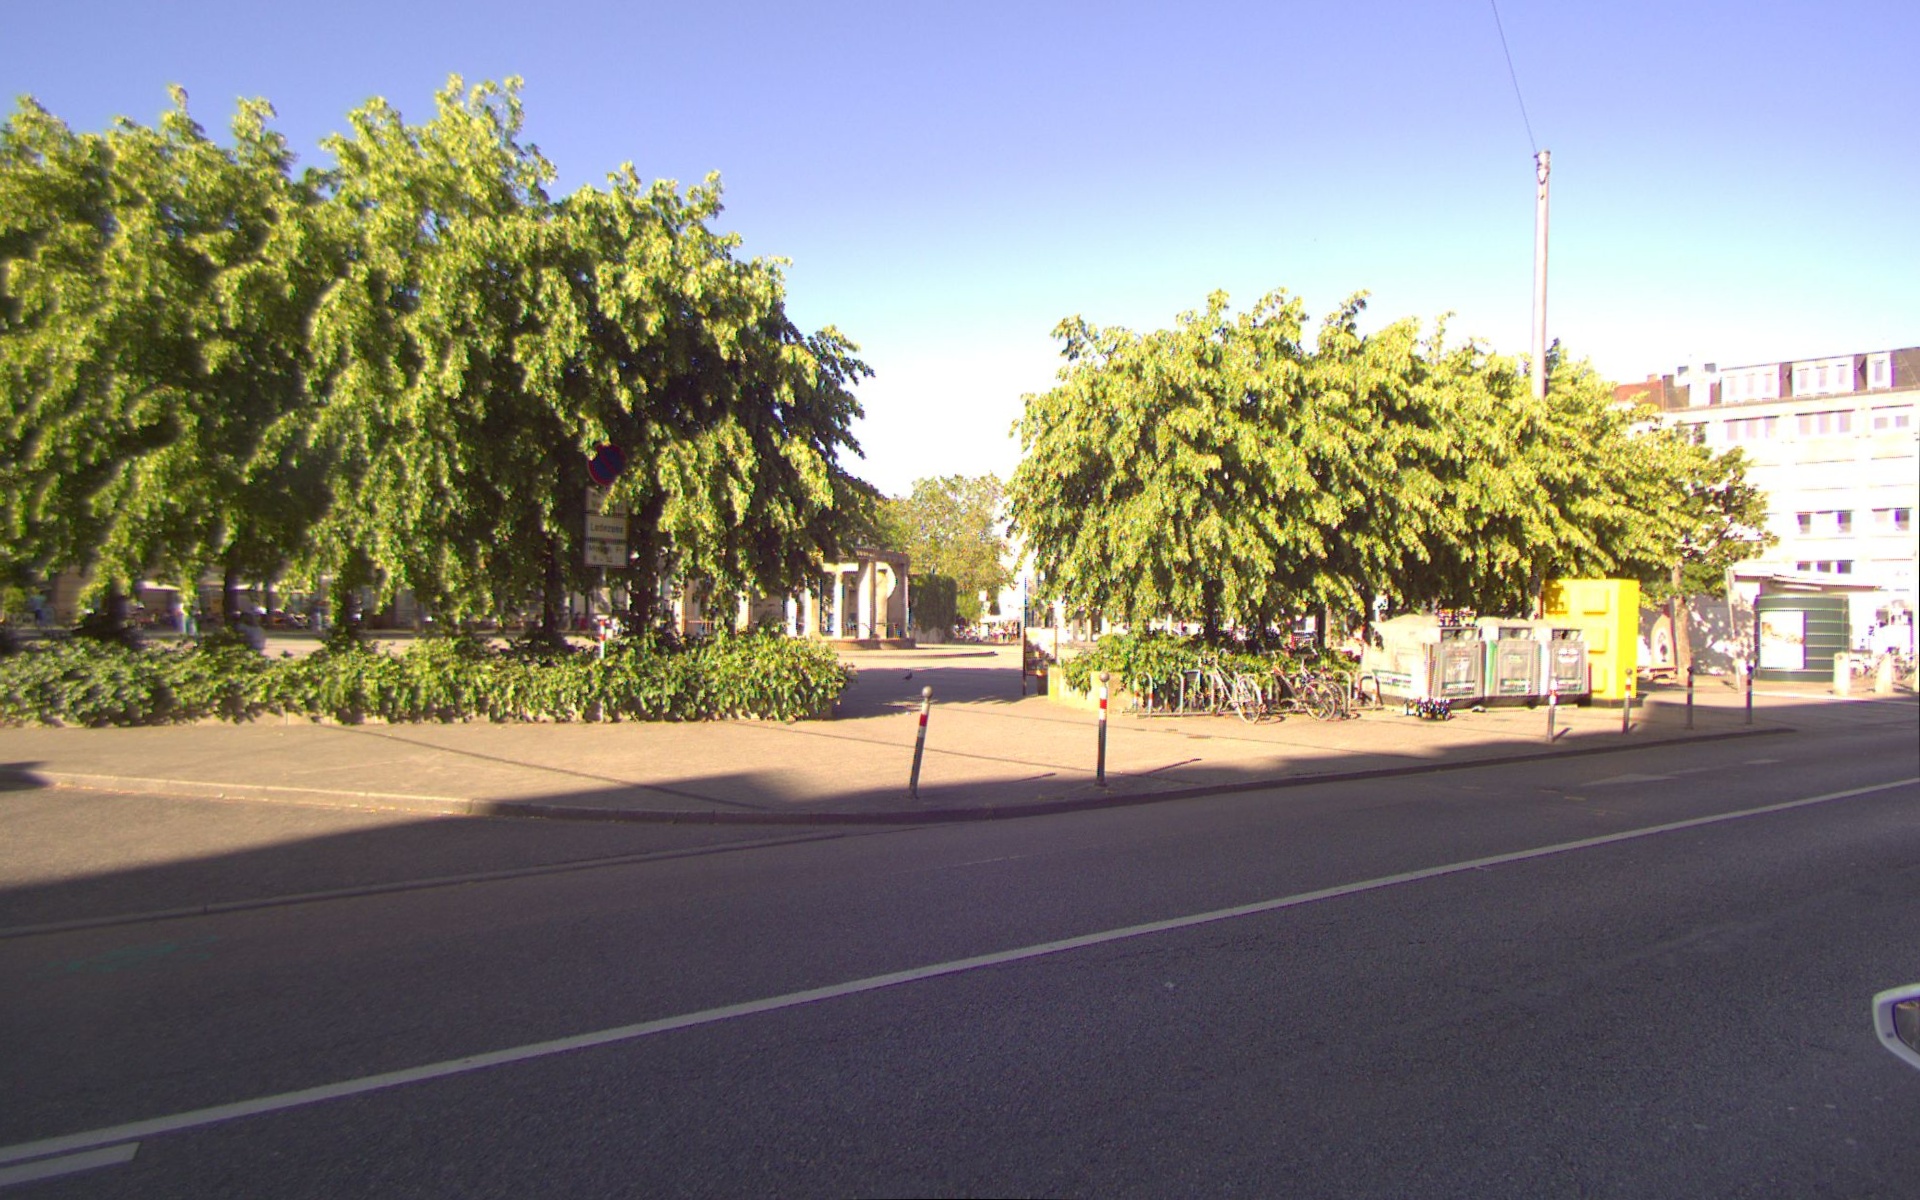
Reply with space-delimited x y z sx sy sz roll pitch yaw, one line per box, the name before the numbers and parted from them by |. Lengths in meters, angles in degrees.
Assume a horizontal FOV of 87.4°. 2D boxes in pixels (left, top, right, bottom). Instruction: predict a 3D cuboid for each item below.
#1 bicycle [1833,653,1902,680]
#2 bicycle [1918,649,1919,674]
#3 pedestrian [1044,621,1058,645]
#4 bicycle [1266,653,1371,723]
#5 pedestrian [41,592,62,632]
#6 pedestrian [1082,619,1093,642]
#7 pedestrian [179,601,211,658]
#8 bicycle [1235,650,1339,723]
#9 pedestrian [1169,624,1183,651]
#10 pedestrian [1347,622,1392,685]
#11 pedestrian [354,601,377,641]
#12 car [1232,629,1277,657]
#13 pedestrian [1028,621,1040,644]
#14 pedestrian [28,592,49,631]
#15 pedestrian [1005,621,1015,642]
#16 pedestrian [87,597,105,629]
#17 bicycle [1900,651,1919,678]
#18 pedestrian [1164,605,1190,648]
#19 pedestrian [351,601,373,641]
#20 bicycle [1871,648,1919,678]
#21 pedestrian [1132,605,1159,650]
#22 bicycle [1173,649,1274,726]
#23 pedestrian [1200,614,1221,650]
bicycle | 30.815 2.251 34.121 0.600 0.802 1.634 2 0 -33
bicycle | 37.090 2.345 37.483 0.599 0.946 1.854 2 0 -30
pedestrian | 8.116 2.942 89.432 1.014 2.040 1.159 2 0 -5
bicycle | 5.821 1.409 16.411 0.508 0.968 1.898 2 0 -20
pedestrian | -40.667 0.548 44.961 0.600 1.744 0.643 2 0 45
pedestrian | 12.634 3.039 99.527 0.860 2.199 0.902 2 0 -5
pedestrian | -23.797 0.909 31.249 0.599 1.744 0.644 2 0 41
bicycle | 5.253 1.373 16.280 0.508 1.016 1.923 2 0 -20
pedestrian | 14.219 2.440 66.171 0.741 1.740 0.854 1 -1 4
pedestrian | 13.773 1.797 33.790 0.967 2.040 1.042 2 0 -42
pedestrian | -26.458 0.930 44.706 0.598 1.744 0.645 2 0 32
car | 15.882 2.283 54.327 1.658 1.405 3.575 1 -1 5
pedestrian | 6.617 2.904 89.880 0.861 2.040 0.902 2 0 -5
pedestrian | -41.842 0.541 45.602 0.600 1.744 0.643 2 0 45
pedestrian | 4.498 2.831 90.631 0.718 1.862 0.697 2 0 -5
pedestrian | -48.256 0.713 56.096 0.599 1.744 0.644 2 0 39
bicycle | 35.084 2.338 36.059 0.599 0.946 1.854 2 0 -30
pedestrian | 10.502 1.280 48.665 0.875 2.040 0.896 1 0 -17
pedestrian | -26.676 0.924 44.821 0.599 1.744 0.644 2 0 37
bicycle | 33.169 2.207 35.135 0.599 0.946 1.855 1 -1 -30
pedestrian | 8.492 1.259 45.983 0.875 2.040 0.896 1 0 -17
bicycle | 4.065 1.334 15.649 0.508 1.029 1.930 2 0 -19
pedestrian | 12.206 1.539 48.970 0.774 1.720 0.763 1 0 -6
